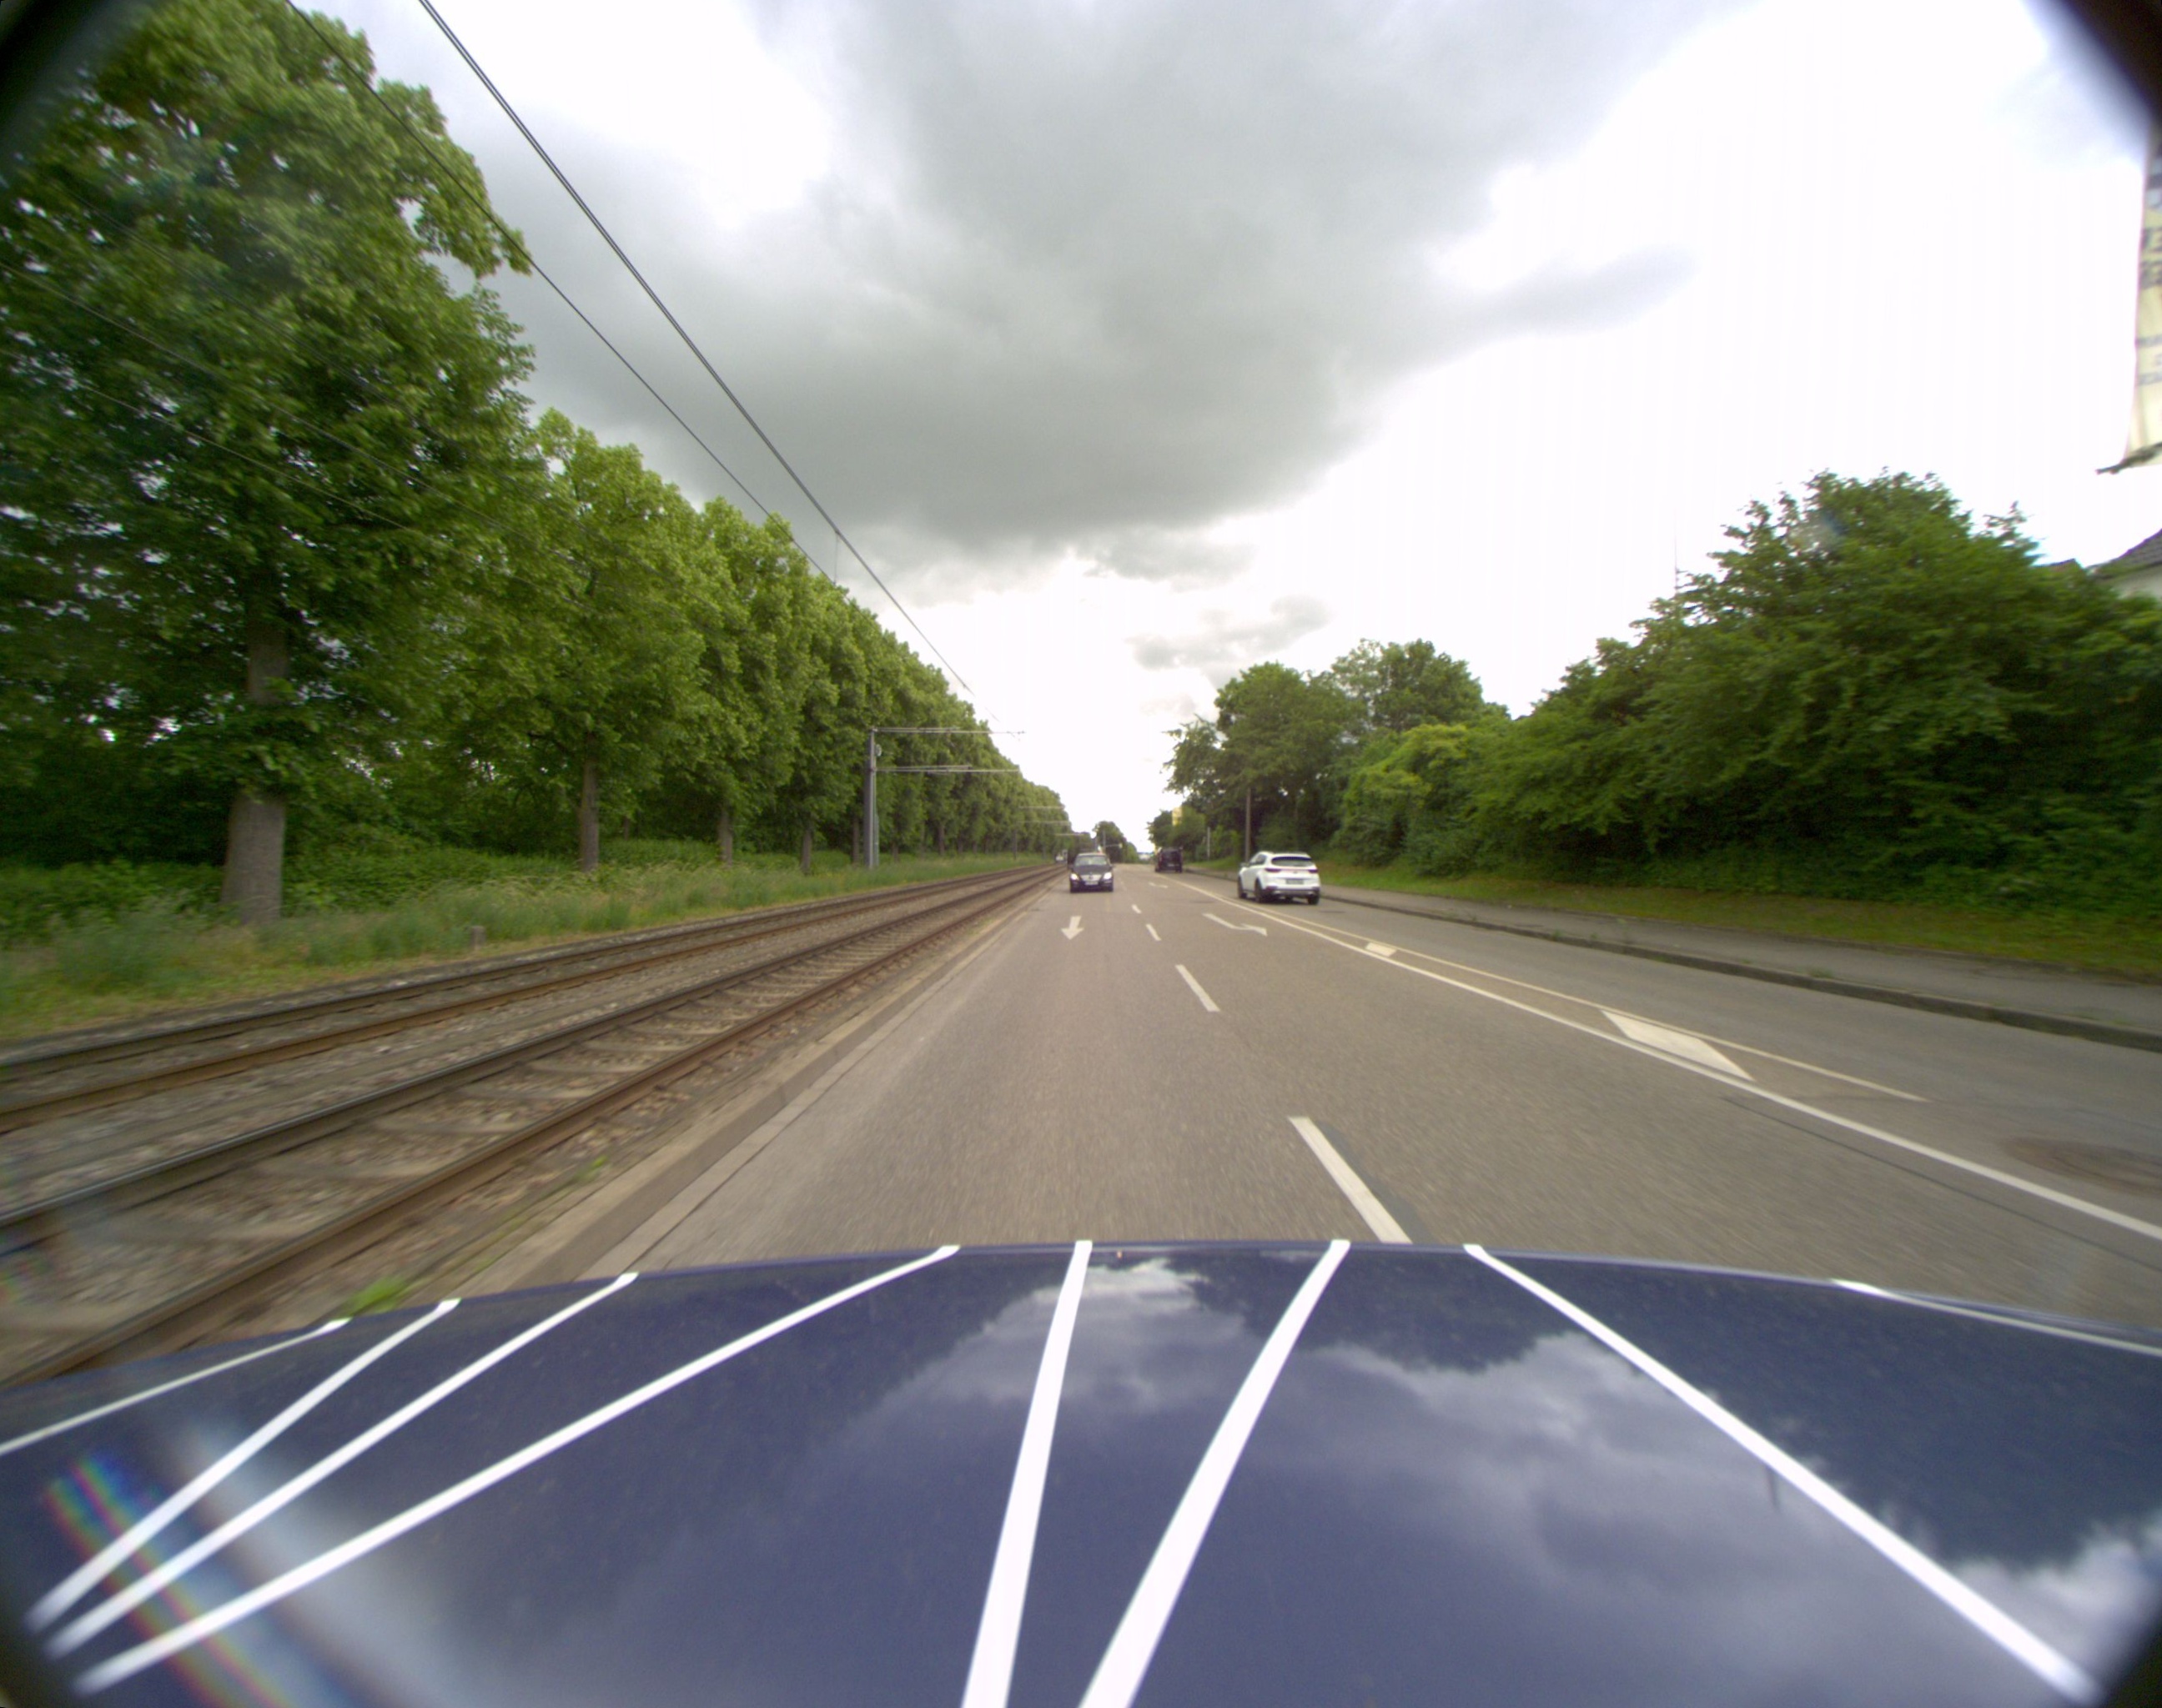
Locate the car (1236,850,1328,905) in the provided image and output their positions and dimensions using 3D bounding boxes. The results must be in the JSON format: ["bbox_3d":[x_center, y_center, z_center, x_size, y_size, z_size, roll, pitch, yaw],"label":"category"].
[{"bbox_3d":[6.380,0.692,24.638,1.846,1.611,4.158,1,0,0],"label":"car"}]

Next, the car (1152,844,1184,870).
[{"bbox_3d":[7.176,0.252,62.926,1.999,2.024,5.115,1,0,0],"label":"car"}]

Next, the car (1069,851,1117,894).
[{"bbox_3d":[0.481,0.699,30.747,1.749,1.558,4.121,-2,0,1],"label":"car"}]
